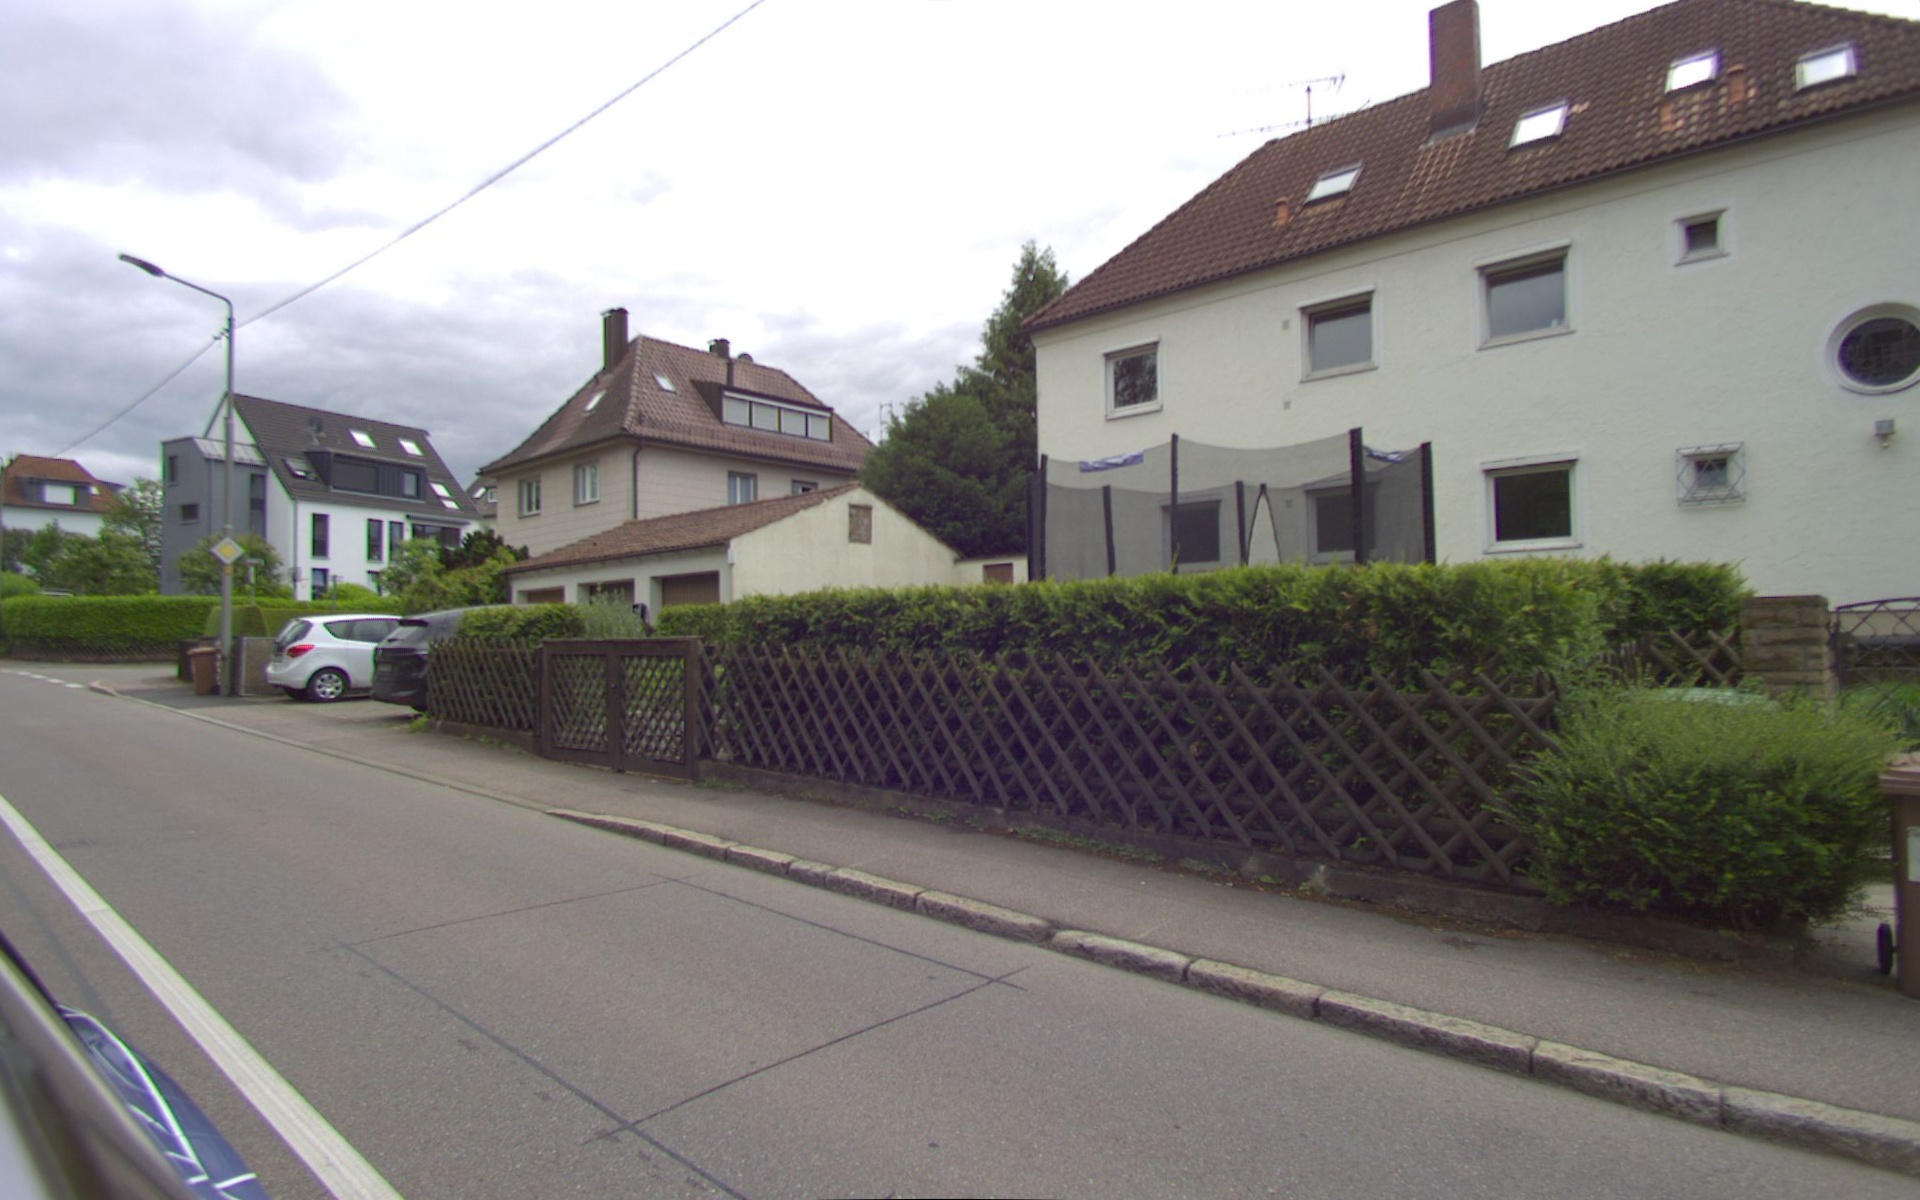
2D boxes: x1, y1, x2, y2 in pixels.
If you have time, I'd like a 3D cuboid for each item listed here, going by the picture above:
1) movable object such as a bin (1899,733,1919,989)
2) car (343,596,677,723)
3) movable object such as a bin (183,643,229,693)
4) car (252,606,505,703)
[{"bbox_3d":[3.942,0.980,3.744,0.624,0.920,0.561,1,-2,-36],"label":"movable object such as a bin"},{"bbox_3d":[-7.166,0.840,16.552,1.881,1.682,4.624,-1,0,40],"label":"car"},{"bbox_3d":[-15.129,1.351,20.296,0.679,0.961,0.572,1,-2,-42],"label":"movable object such as a bin"},{"bbox_3d":[-11.331,0.992,19.918,1.718,1.606,3.946,-1,0,41],"label":"car"}]
